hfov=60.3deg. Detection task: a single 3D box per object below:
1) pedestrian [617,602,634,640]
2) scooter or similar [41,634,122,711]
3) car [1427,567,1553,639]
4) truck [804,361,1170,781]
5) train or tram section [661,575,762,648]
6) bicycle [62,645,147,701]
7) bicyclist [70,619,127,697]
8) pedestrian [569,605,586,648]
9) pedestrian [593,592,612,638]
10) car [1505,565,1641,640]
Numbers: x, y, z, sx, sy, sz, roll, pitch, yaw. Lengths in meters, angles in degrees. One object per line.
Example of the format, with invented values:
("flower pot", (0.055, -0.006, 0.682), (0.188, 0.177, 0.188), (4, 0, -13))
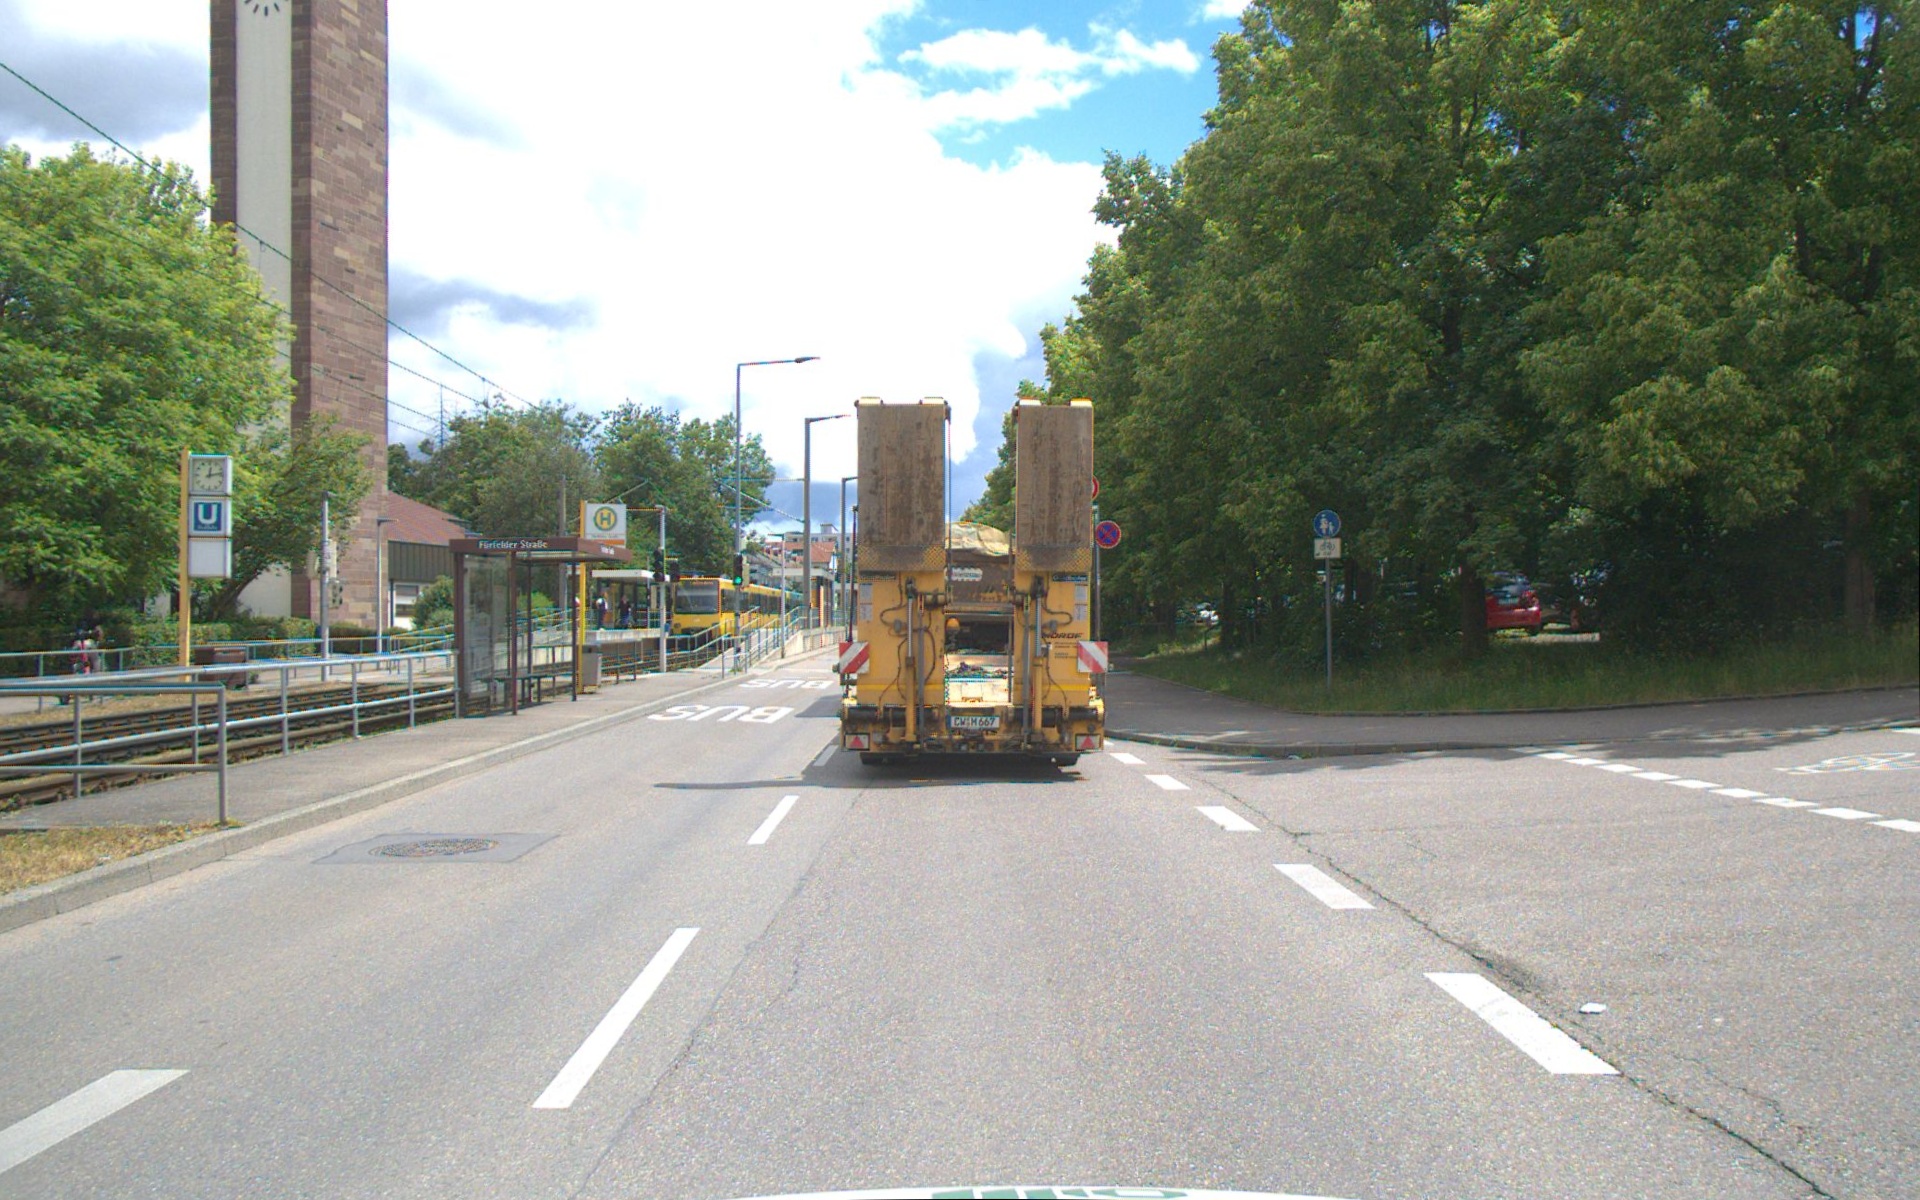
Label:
("pedestrian", (-15.523, 0.970, 76.764), (0.626, 1.737, 0.645), (1, -1, -1))
("scooter or similar", (-15.222, 1.238, 28.687), (0.636, 1.258, 1.401), (1, 0, -1))
("car", (12.337, 0.097, 38.714), (1.627, 1.527, 3.661), (-3, -1, -1))
("truck", (-0.159, -0.153, 21.901), (3.335, 3.798, 13.727), (0, -1, -4))
("train or tram section", (-13.411, 0.741, 91.166), (3.045, 3.525, 18.818), (1, -1, -1))
("bicycle", (-16.309, 1.382, 31.586), (0.624, 1.011, 1.927), (1, -1, -1))
("bicyclist", (-16.373, 1.093, 31.445), (0.620, 1.454, 0.790), (1, -1, -1))
("pedestrian", (-16.353, 1.138, 70.715), (0.572, 1.809, 0.576), (1, -1, -1))
("pedestrian", (-16.245, 0.684, 75.163), (0.698, 2.049, 0.731), (1, -1, -3))
("car", (14.439, 0.082, 39.142), (1.717, 1.610, 3.661), (-3, -1, -1))
